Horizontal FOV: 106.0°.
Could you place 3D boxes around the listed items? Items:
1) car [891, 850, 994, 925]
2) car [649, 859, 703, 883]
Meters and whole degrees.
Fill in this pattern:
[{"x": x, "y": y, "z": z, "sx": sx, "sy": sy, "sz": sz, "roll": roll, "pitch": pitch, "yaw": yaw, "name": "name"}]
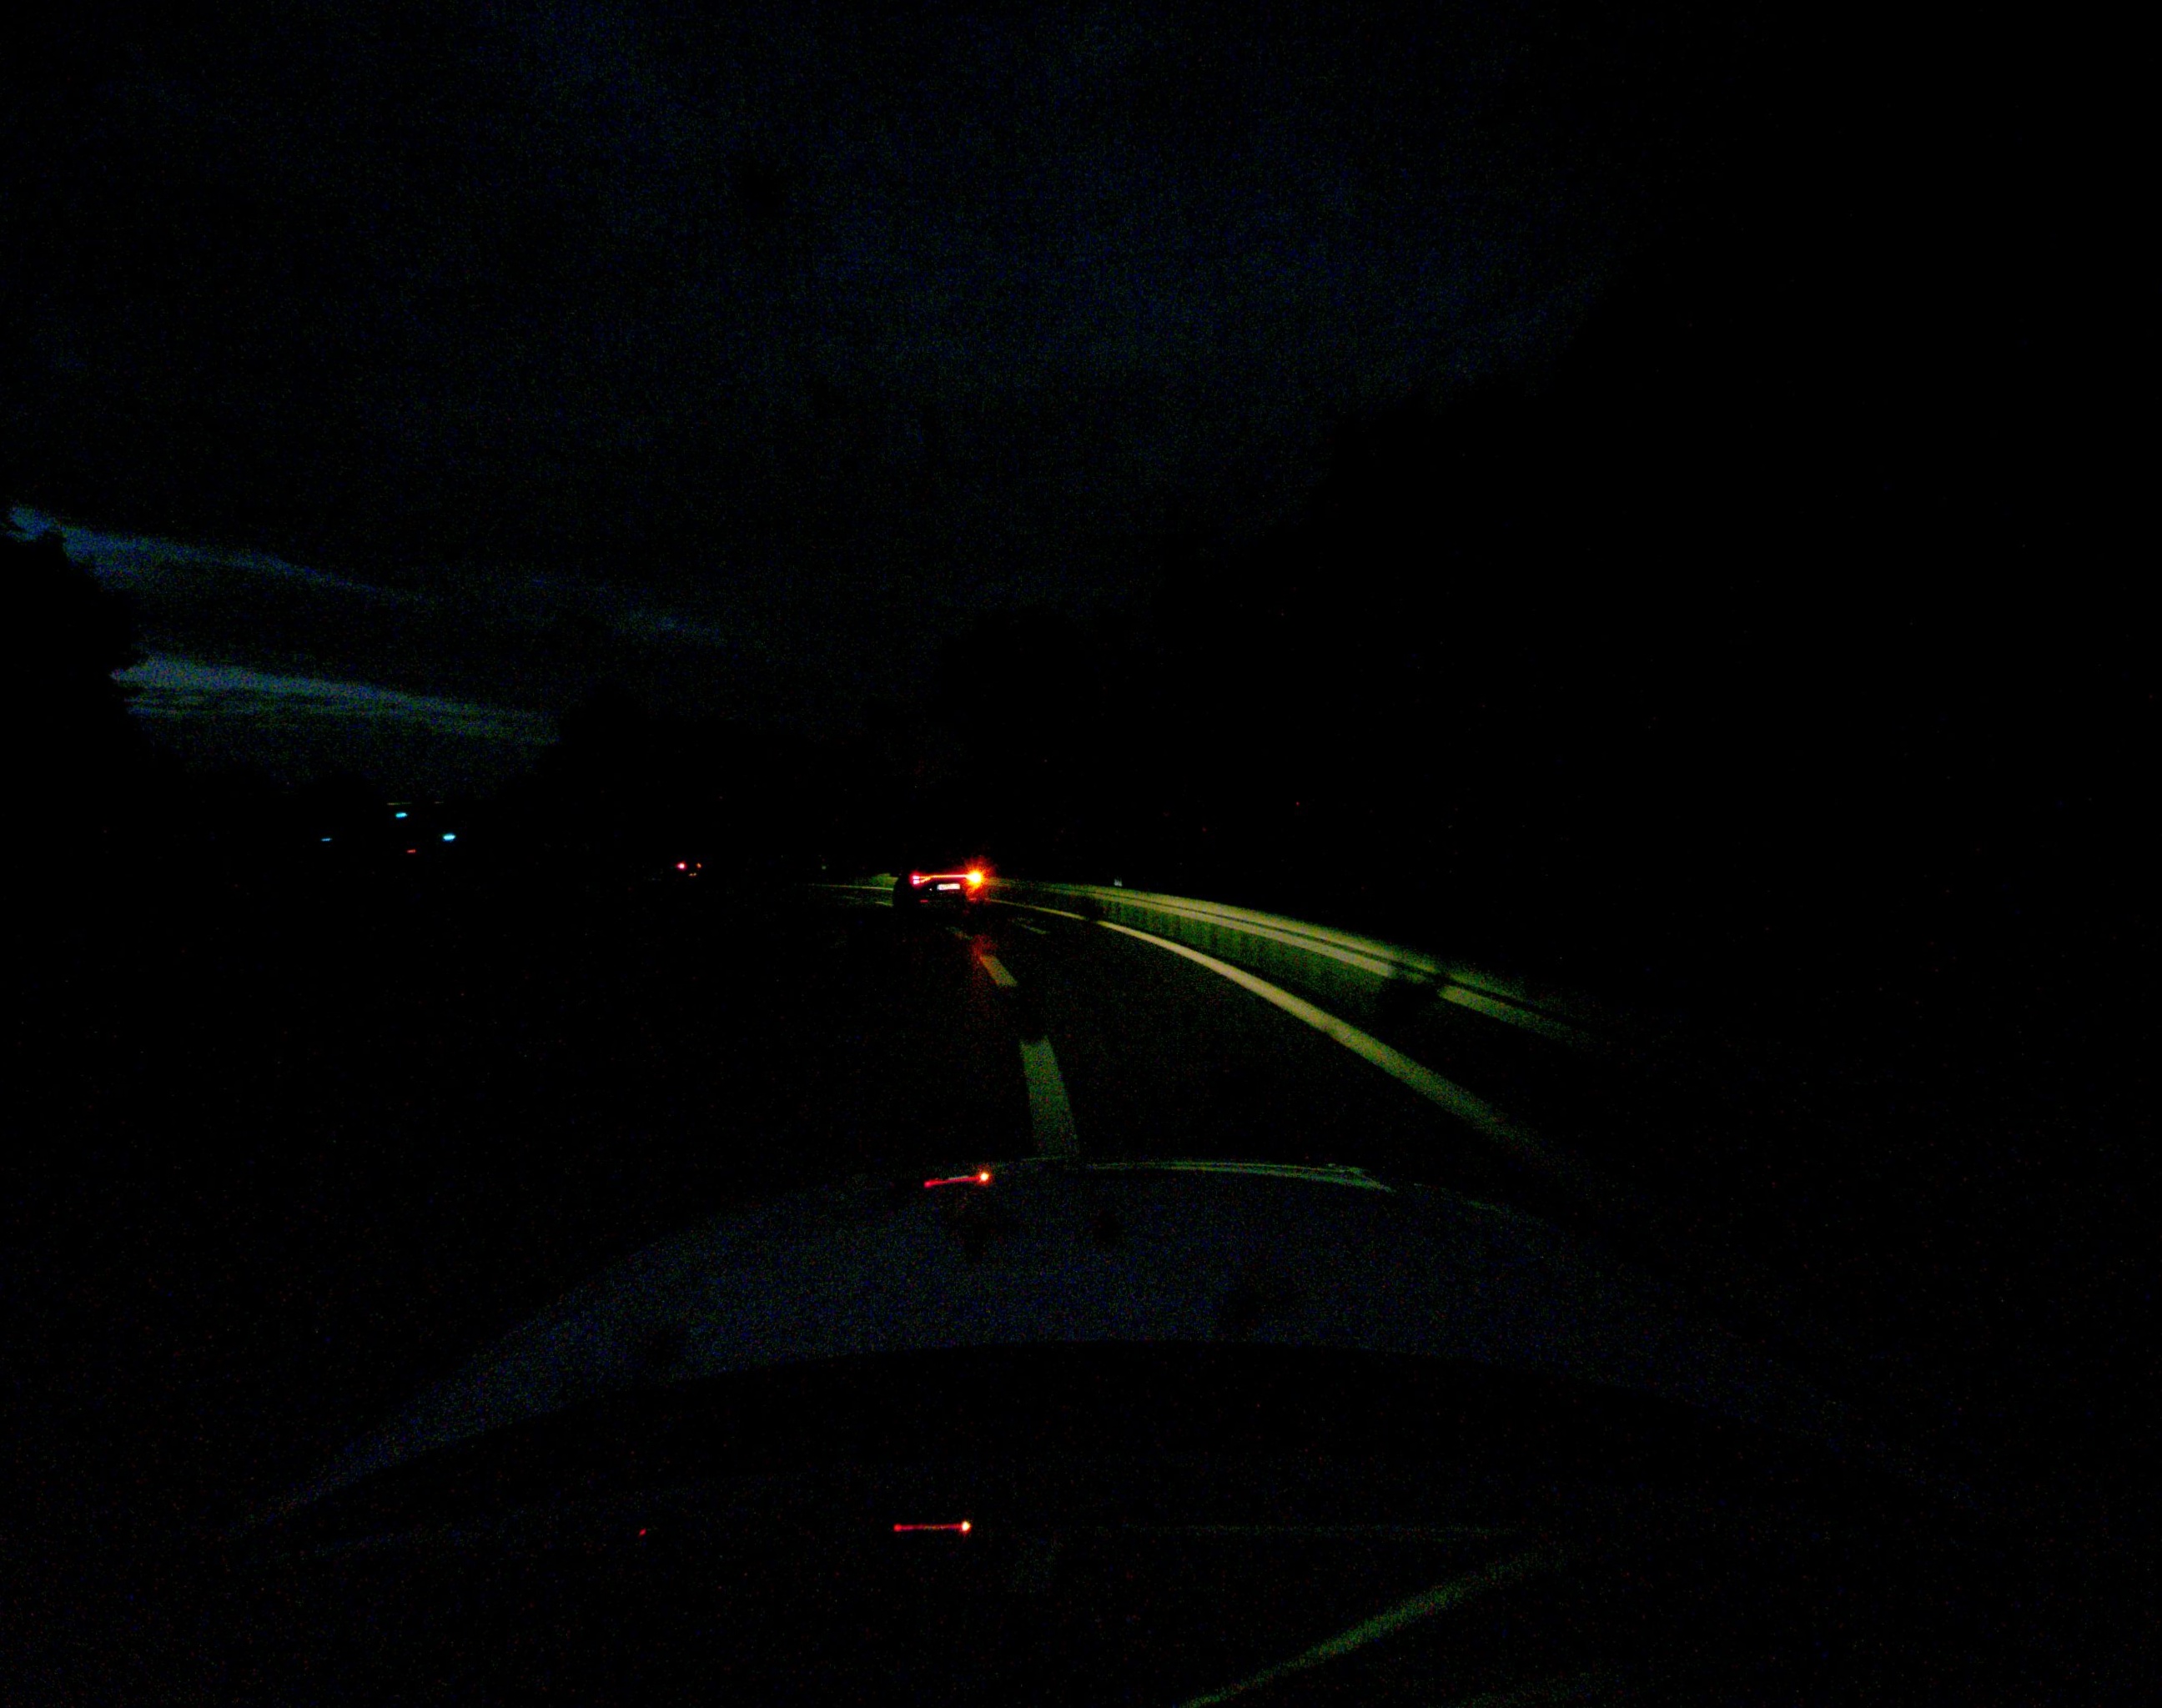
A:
[{"x": -3.582, "y": 0.776, "z": 20.374, "sx": 1.998, "sy": 1.659, "sz": 4.289, "roll": 1, "pitch": -1, "yaw": -17, "name": "car"}, {"x": -28.107, "y": 1.154, "z": 56.485, "sx": 3.949, "sy": 1.598, "sz": 2.012, "roll": 0, "pitch": -1, "yaw": 42, "name": "car"}]
